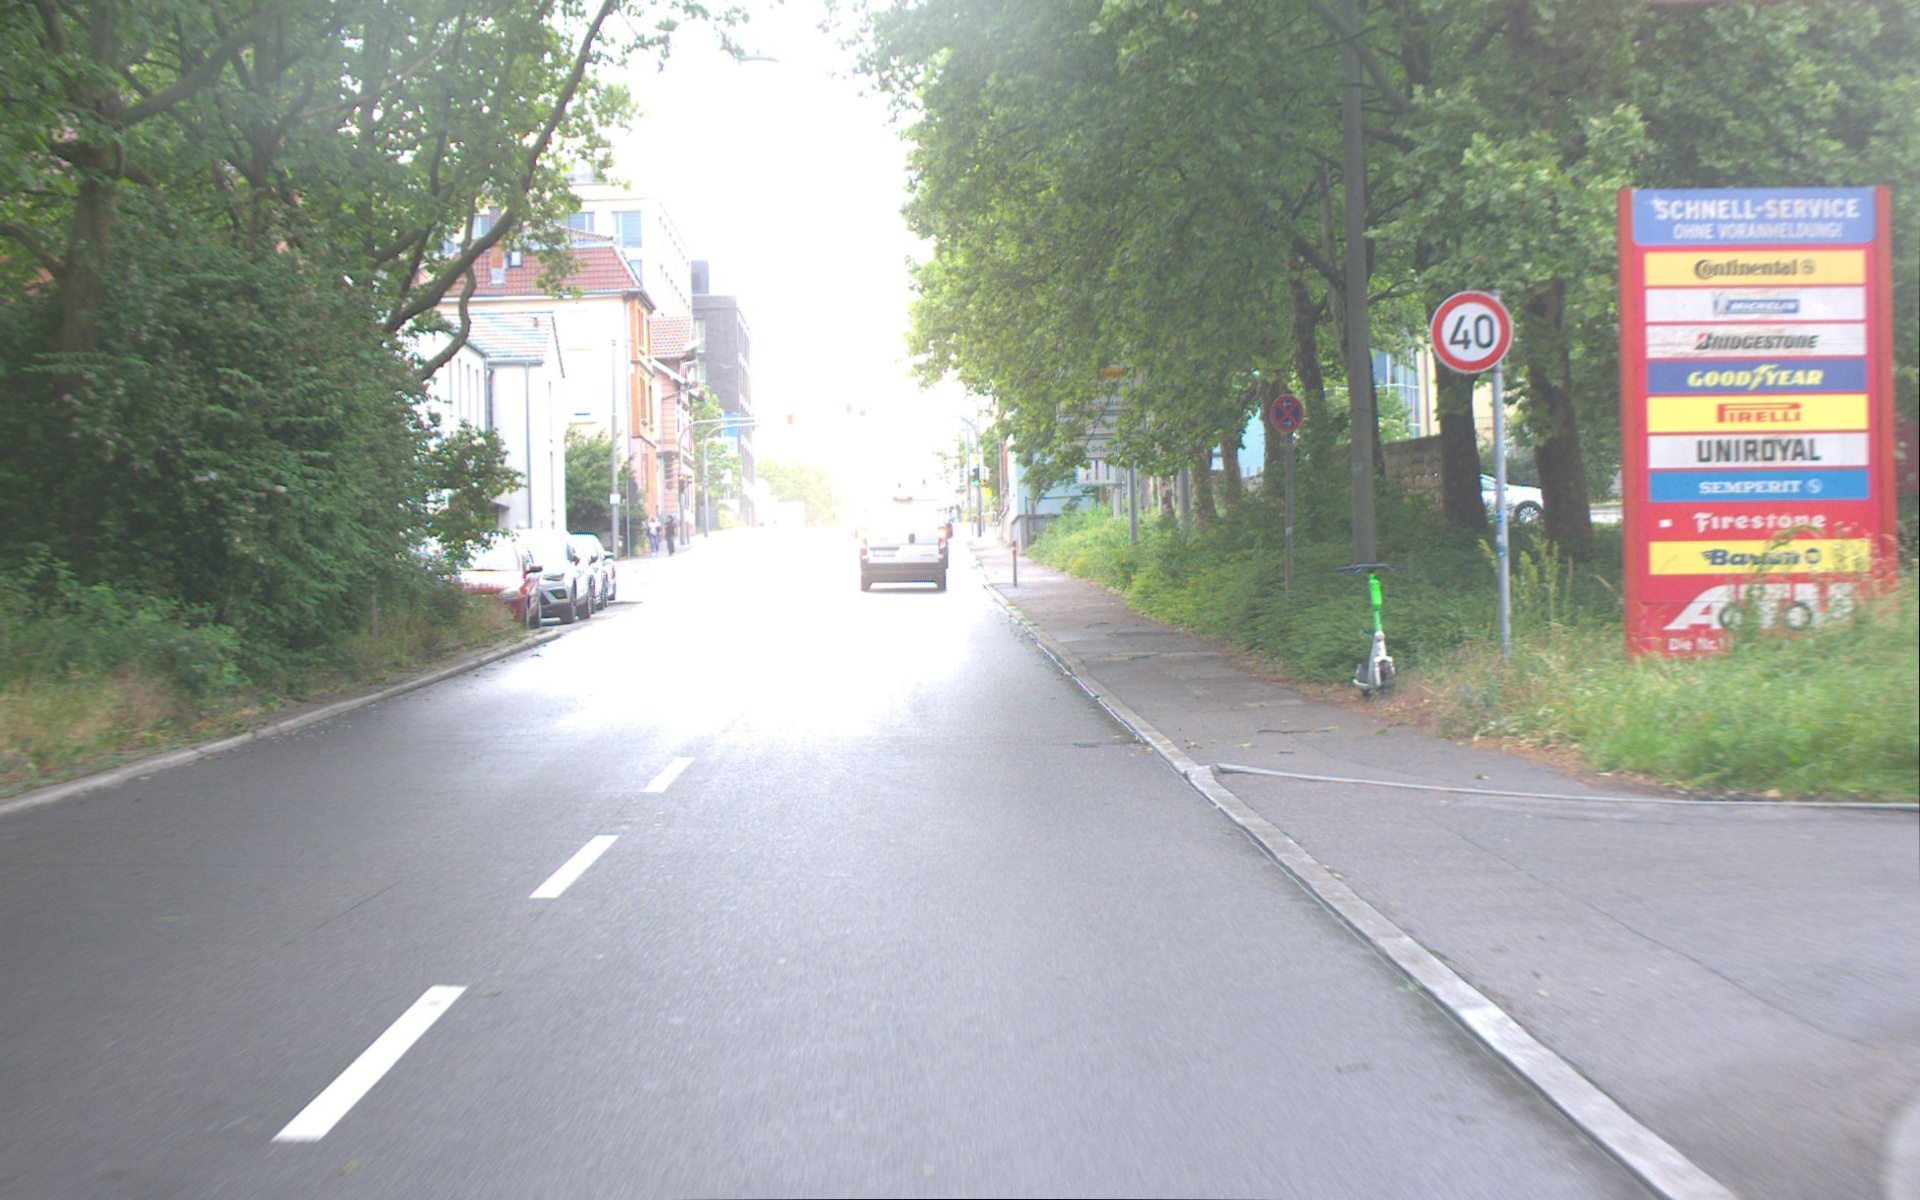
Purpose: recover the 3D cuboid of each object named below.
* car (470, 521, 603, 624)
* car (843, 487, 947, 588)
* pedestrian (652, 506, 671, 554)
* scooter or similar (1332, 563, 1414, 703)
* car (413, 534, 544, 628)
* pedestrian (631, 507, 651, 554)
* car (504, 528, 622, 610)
[{"bbox_3d":[-7.126,-0.497,58.180,1.691,1.536,4.118,-3,2,0],"label":"car"},{"bbox_3d":[-1.500,-1.453,81.393,2.336,2.223,4.000,-2,0,0],"label":"car"},{"bbox_3d":[-12.656,-2.957,145.792,0.671,2.007,0.941,0,1,3],"label":"pedestrian"},{"bbox_3d":[3.468,0.280,28.933,0.425,1.138,1.529,1,-1,-3],"label":"scooter or similar"},{"bbox_3d":[-7.358,-0.315,52.777,1.638,1.369,3.760,0,1,-3],"label":"car"},{"bbox_3d":[-13.573,-2.966,146.250,0.671,2.007,0.941,0,1,3],"label":"pedestrian"},{"bbox_3d":[-7.389,-0.584,64.283,1.743,1.477,4.386,0,1,-1],"label":"car"}]
